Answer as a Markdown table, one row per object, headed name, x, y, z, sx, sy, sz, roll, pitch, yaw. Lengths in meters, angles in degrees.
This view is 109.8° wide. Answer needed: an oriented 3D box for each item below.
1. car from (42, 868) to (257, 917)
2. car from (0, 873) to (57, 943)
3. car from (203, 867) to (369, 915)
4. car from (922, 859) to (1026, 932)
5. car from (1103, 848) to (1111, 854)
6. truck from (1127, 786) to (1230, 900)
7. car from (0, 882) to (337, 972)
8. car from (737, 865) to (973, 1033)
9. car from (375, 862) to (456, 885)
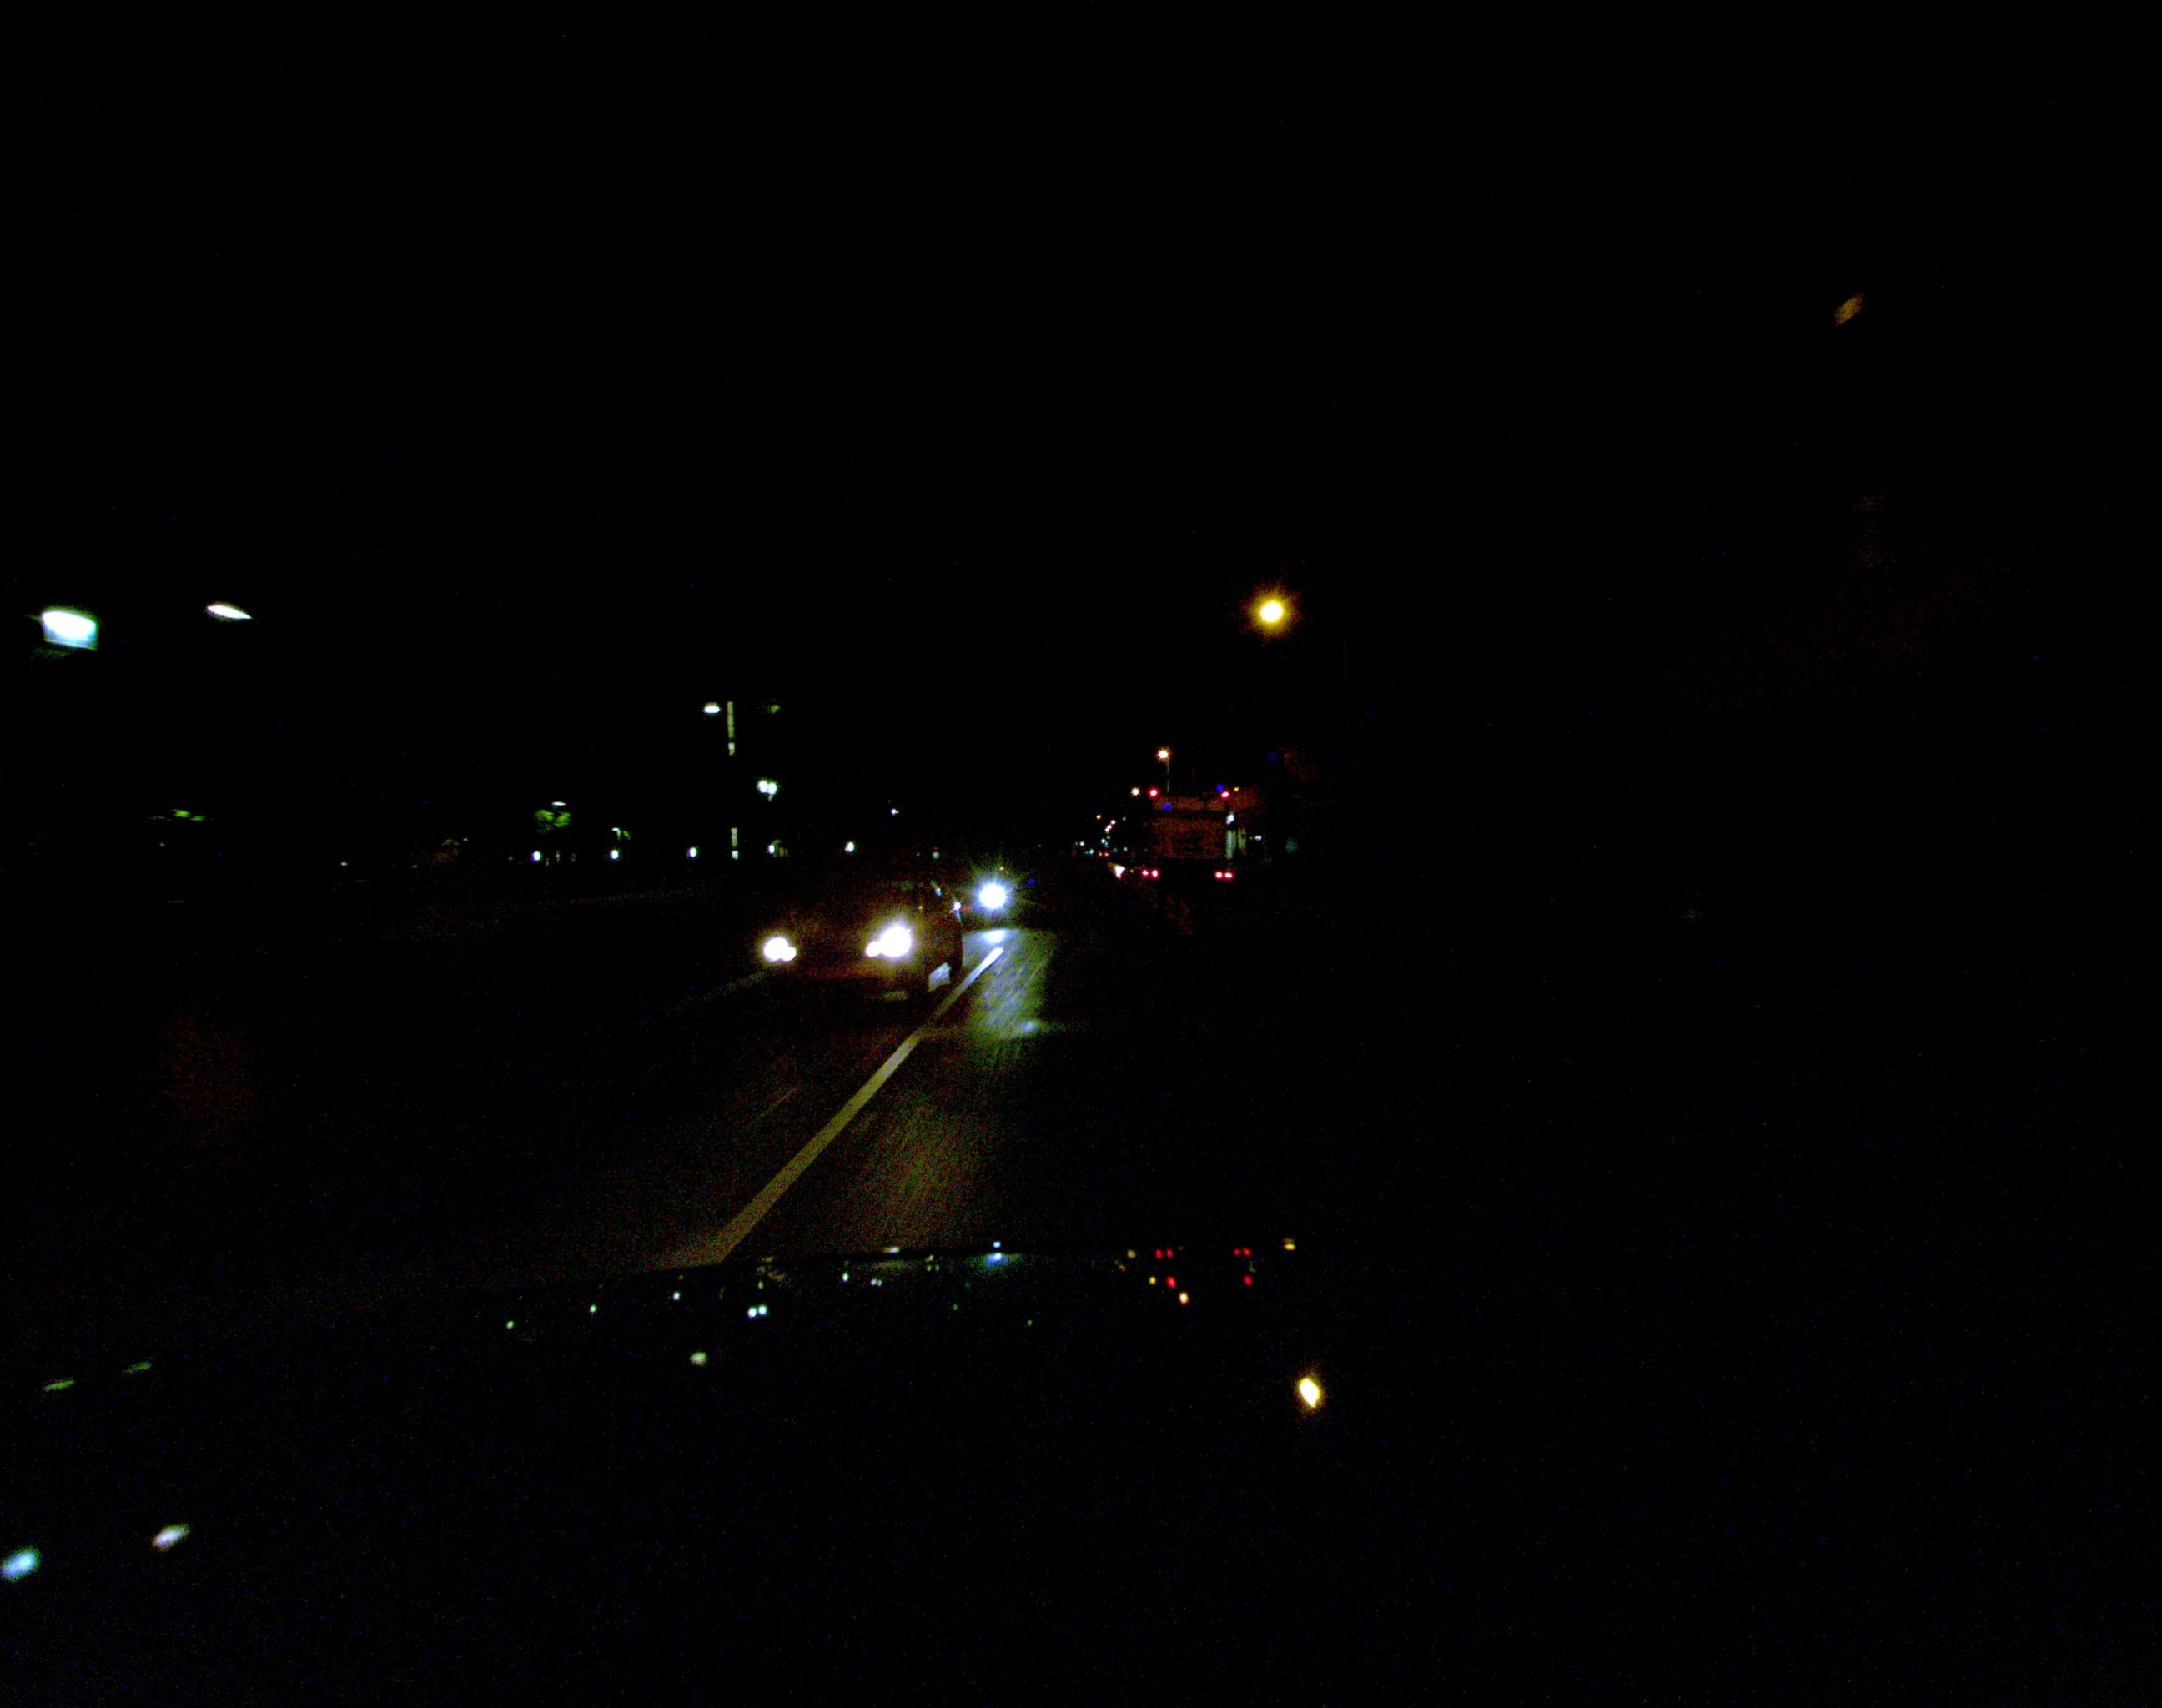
| name | x | y | z | sx | sy | sz | roll | pitch | yaw |
| --- | --- | --- | --- | --- | --- | --- | --- | --- | --- |
| car | -34.023 | 1.331 | 28.049 | 1.894 | 1.504 | 4.891 | -1 | 1 | 0 |
| car | -24.637 | 1.224 | 15.588 | 1.786 | 1.524 | 4.000 | -1 | 1 | 1 |
| car | -29.277 | 1.295 | 28.203 | 1.773 | 1.524 | 4.098 | -1 | 1 | 1 |
| car | -2.610 | 0.952 | 19.614 | 1.809 | 1.485 | 4.729 | -3 | 1 | 2 |
| car | 5.895 | -0.678 | 174.305 | 1.671 | 1.420 | 3.999 | 0 | 1 | 0 |
| truck | 3.467 | -0.387 | 29.722 | 2.762 | 3.696 | 10.111 | 0 | 1 | 0 |
| car | -18.279 | 1.359 | 15.521 | 1.516 | 1.387 | 4.483 | -1 | 0 | 4 |
| car | -2.513 | 0.976 | 9.512 | 1.641 | 1.486 | 4.000 | -3 | 0 | 1 |
| car | -48.081 | 1.384 | 55.010 | 1.998 | 1.499 | 4.301 | -1 | 0 | 1 |
